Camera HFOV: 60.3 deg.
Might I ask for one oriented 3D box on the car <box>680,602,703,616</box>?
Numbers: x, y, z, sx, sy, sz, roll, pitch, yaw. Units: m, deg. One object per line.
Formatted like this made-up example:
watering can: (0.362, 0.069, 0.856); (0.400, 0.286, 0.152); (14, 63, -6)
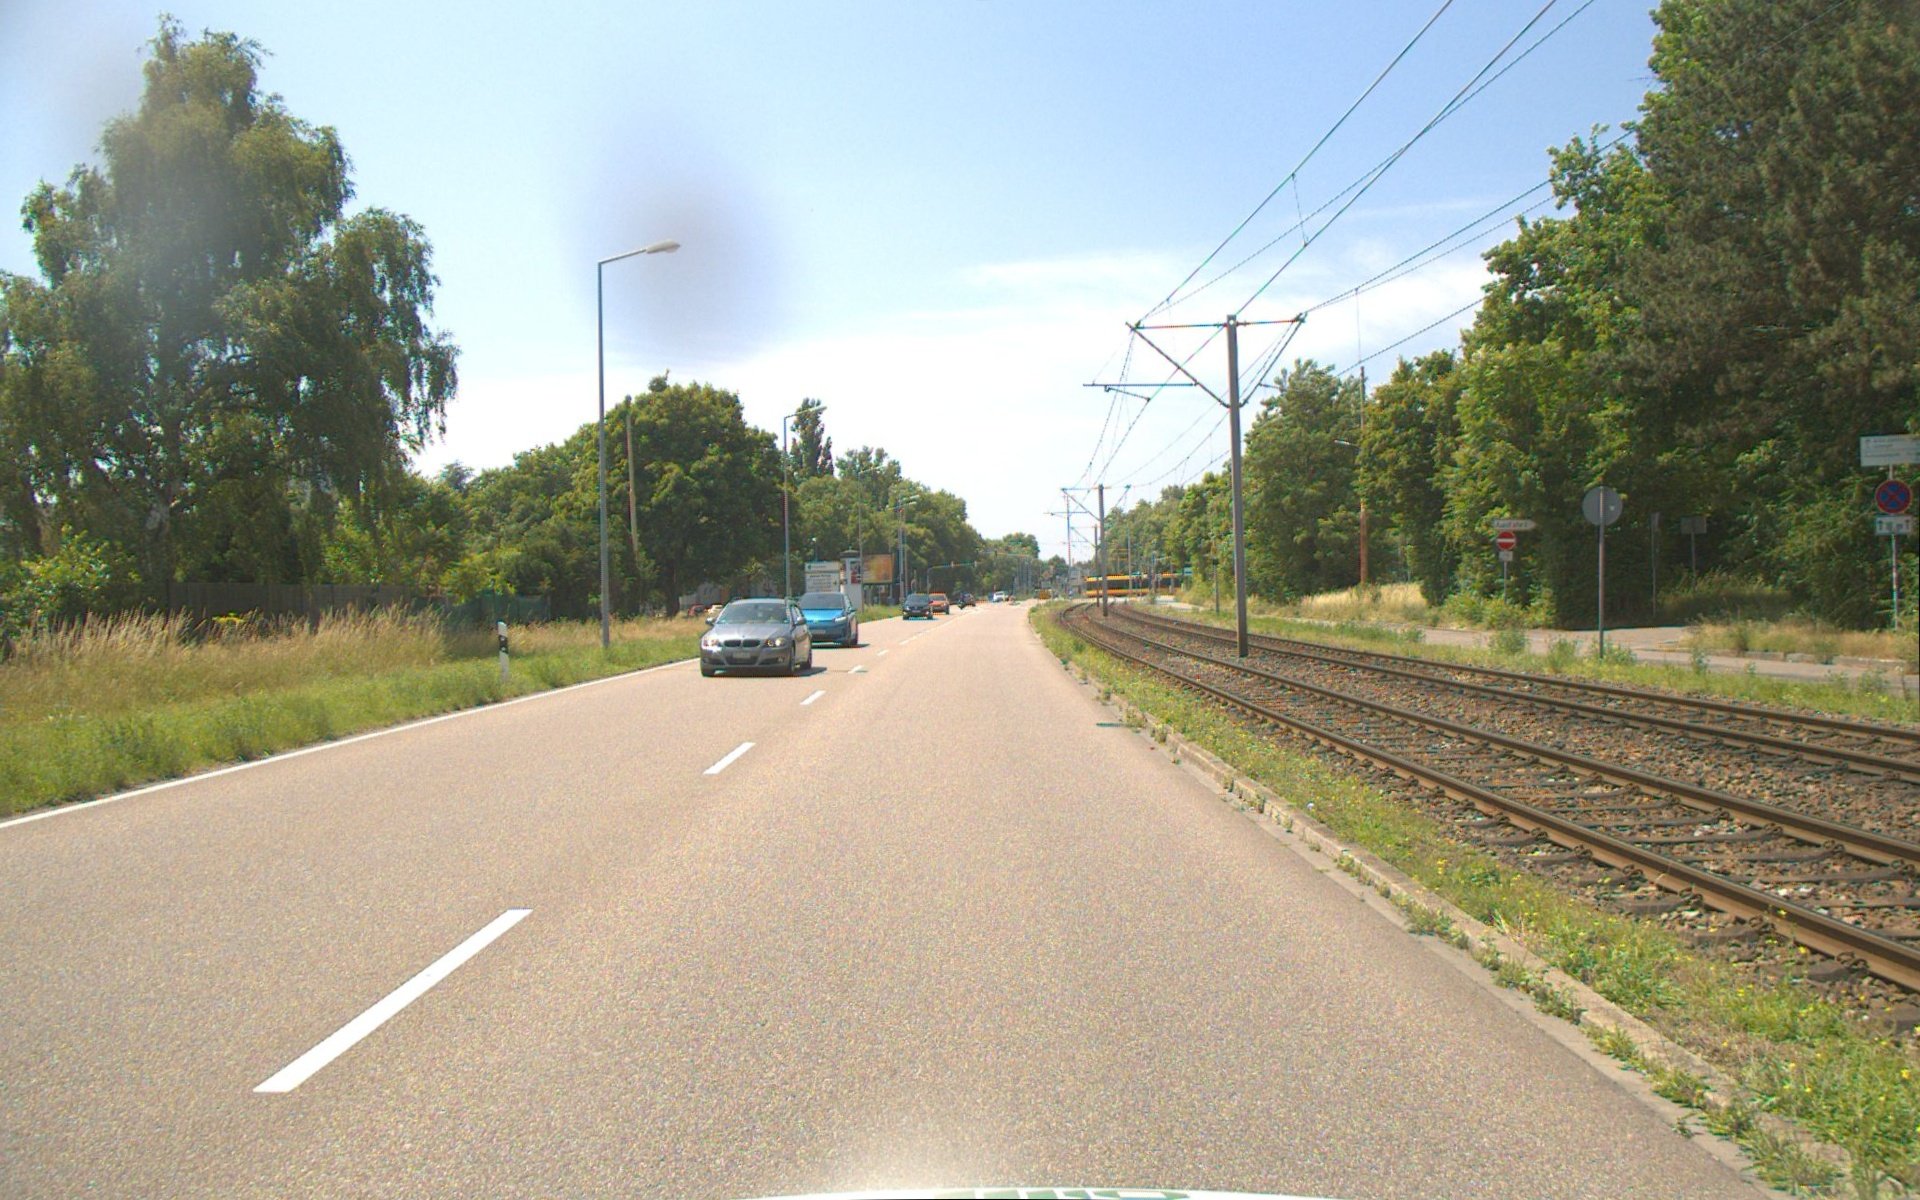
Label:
car: (-34.615, 1.130, 213.330); (1.824, 1.697, 3.965); (-2, 0, -26)

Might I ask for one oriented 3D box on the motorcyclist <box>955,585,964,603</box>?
motorcyclist: (-0.056, -0.554, 158.766); (0.773, 1.671, 1.211); (-1, 0, 3)

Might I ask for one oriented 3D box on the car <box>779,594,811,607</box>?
car: (-24.098, 0.101, 241.908); (1.760, 1.799, 4.520); (-2, 0, 43)

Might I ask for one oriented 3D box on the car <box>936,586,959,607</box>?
car: (-0.913, -0.278, 118.172); (1.645, 1.423, 3.999); (-1, 0, -1)

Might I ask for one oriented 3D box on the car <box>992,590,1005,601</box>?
car: (5.839, -0.666, 248.300); (1.747, 1.657, 3.867); (-2, 0, 4)

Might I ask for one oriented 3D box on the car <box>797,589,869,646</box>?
car: (-3.619, 0.473, 47.698); (1.778, 1.531, 3.999); (-1, 0, -1)

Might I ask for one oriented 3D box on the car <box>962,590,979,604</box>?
car: (1.216, -0.374, 190.328); (1.867, 1.525, 4.631); (-1, 0, 1)

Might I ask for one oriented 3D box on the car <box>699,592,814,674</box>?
car: (-3.827, 0.579, 31.786); (1.721, 1.447, 4.323); (-1, 0, -1)

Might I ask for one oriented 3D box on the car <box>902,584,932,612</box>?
car: (-2.497, -0.110, 96.660); (1.650, 1.597, 3.967); (-1, 0, -1)

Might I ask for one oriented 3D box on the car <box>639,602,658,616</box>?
car: (-40.001, 1.162, 212.159); (1.818, 1.741, 3.978); (-1, 0, -19)

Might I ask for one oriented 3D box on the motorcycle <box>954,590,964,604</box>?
motorcycle: (-0.083, -0.278, 158.616); (0.829, 1.277, 2.450); (-1, 0, 2)

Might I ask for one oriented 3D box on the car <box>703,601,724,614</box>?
car: (-31.929, 1.008, 214.038); (1.681, 1.620, 3.971); (-1, 0, -23)

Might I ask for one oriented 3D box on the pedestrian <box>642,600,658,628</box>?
pedestrian: (-15.157, 0.683, 80.828); (0.569, 1.378, 0.799); (-1, 0, 1)
